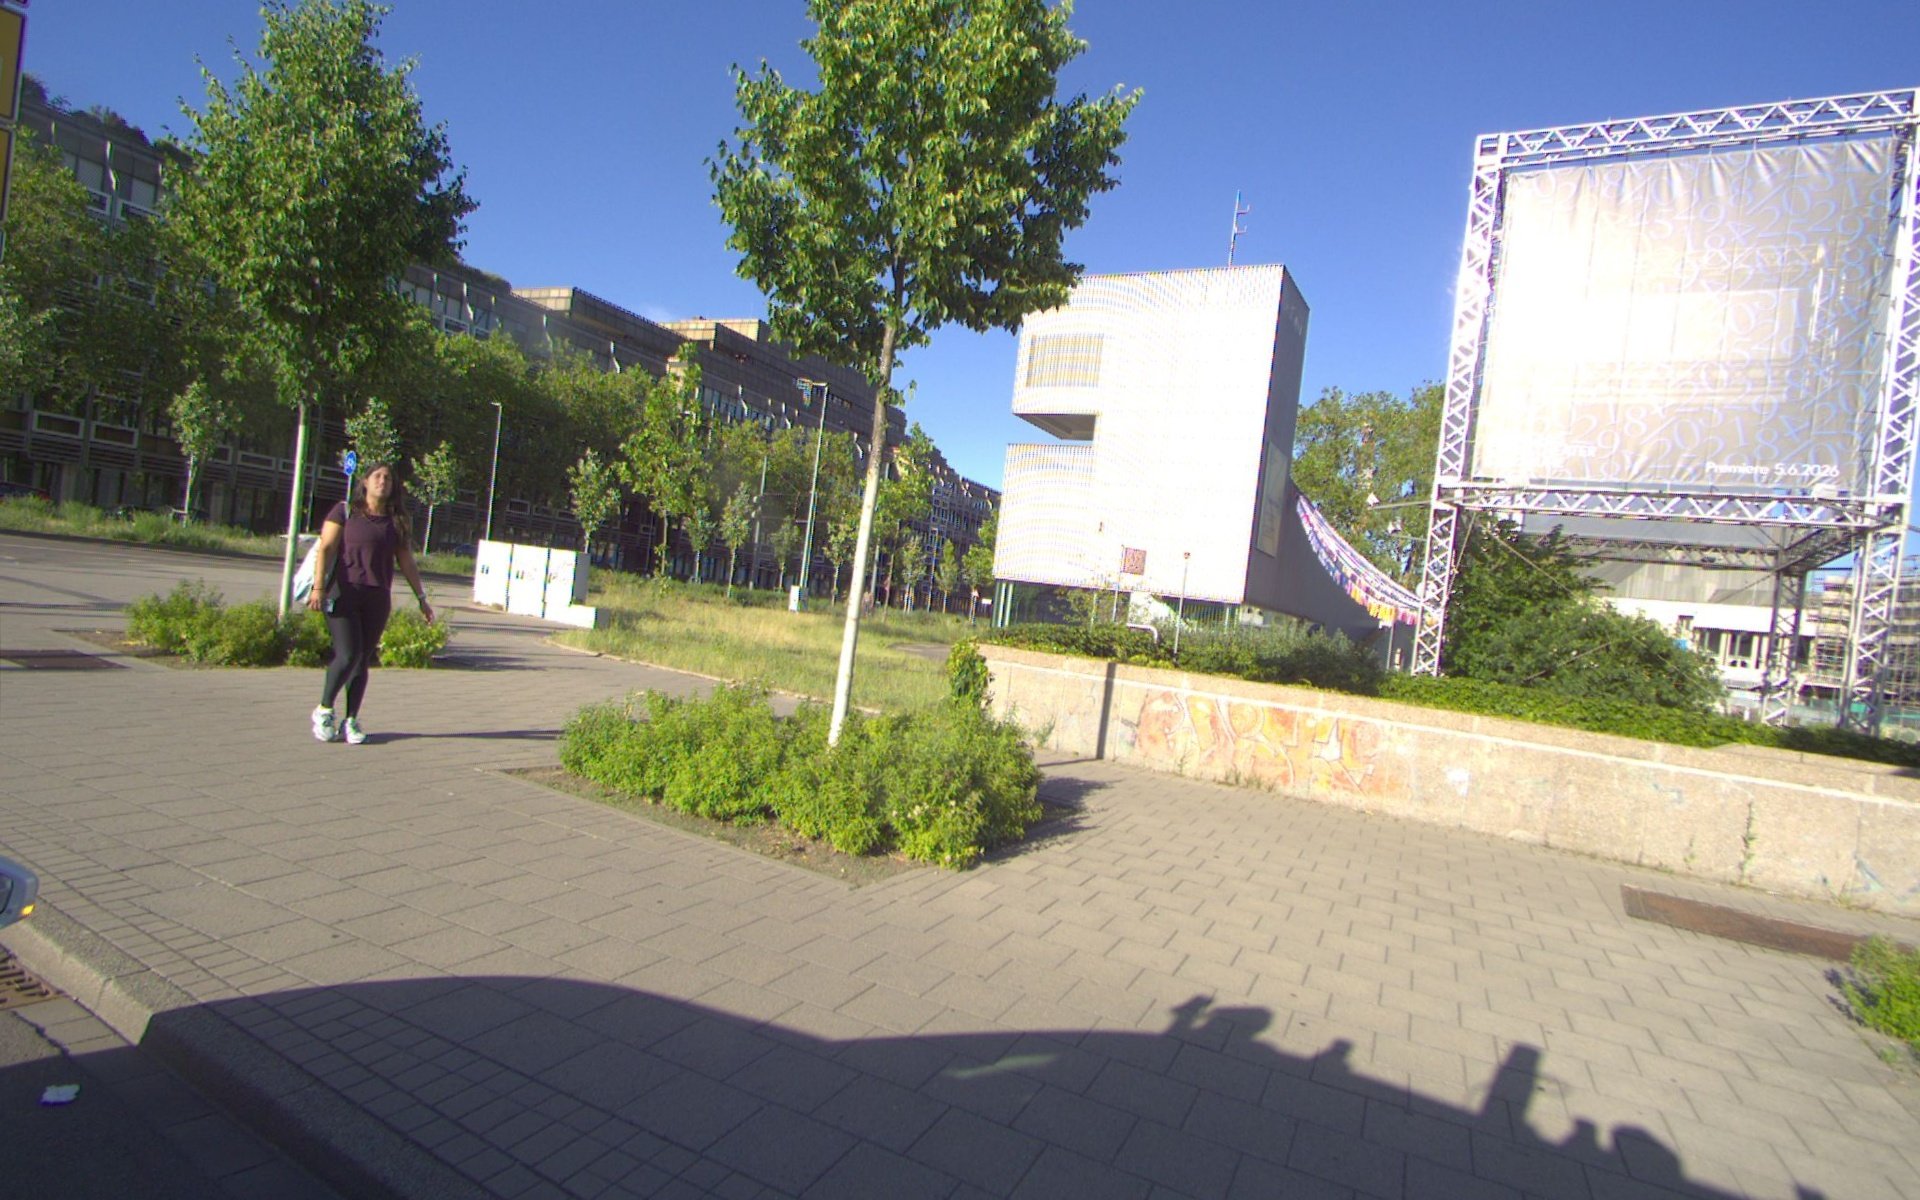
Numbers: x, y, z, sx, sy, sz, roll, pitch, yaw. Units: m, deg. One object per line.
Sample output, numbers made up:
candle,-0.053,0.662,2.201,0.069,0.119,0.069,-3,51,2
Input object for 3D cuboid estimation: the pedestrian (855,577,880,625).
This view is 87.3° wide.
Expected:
pedestrian,-4.126,0.048,44.818,0.669,2.039,0.620,7,1,23

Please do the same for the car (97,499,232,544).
car,-38.426,-3.753,48.720,1.965,1.373,4.641,9,0,27

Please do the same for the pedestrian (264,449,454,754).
pedestrian,-3.882,0.008,6.472,0.817,1.771,1.031,5,2,-38

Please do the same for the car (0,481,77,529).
car,-35.429,-3.676,36.511,1.965,1.373,4.641,9,0,27

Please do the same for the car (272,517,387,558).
car,-32.579,-3.224,52.130,1.965,1.373,4.641,9,0,27

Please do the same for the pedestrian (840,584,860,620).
pedestrian,-5.125,0.083,47.062,0.513,1.591,0.620,7,1,23

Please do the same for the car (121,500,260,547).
car,-35.547,-3.496,46.625,1.965,1.373,4.641,9,0,27
